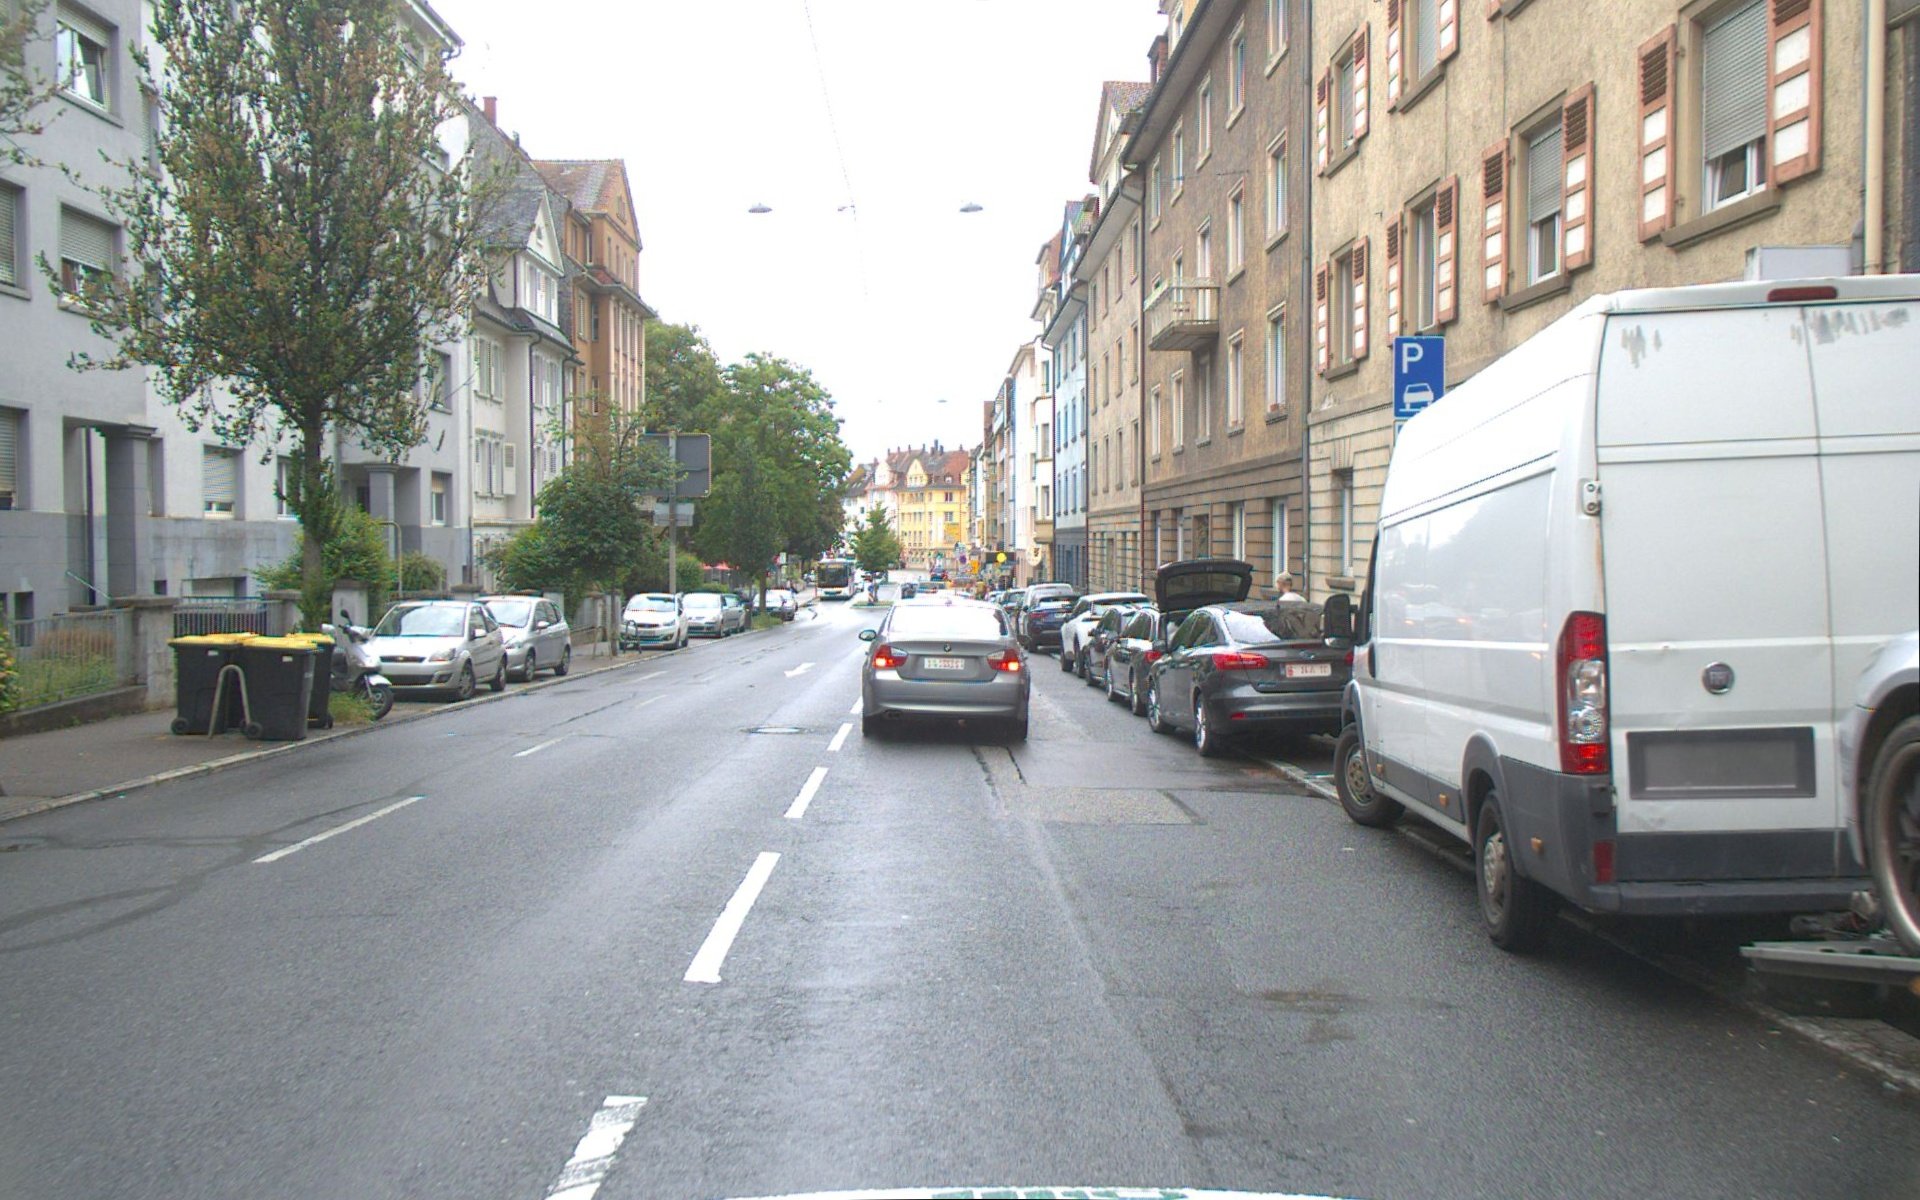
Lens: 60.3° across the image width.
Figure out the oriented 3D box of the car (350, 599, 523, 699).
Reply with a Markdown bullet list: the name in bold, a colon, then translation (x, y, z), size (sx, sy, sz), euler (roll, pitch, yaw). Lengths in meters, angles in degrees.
- **car**: translation (-8.056, 0.726, 25.800), size (1.568, 1.421, 3.885), euler (0, -1, -2)

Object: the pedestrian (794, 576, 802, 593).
- **pedestrian**: translation (-14.247, -1.351, 145.255), size (0.607, 1.402, 0.544), euler (3, -1, -1)

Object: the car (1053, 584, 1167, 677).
- **car**: translation (2.924, 0.569, 33.022), size (1.599, 1.667, 4.192), euler (3, 0, -3)

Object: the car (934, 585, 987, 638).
- **car**: translation (0.015, 0.344, 47.940), size (1.406, 1.380, 3.761), euler (3, -1, 0)

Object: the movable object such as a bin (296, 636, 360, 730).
- **movable object such as a bin**: translation (-7.519, 0.983, 19.702), size (0.513, 1.076, 0.483), euler (3, -1, 0)

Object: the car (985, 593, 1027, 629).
- **car**: translation (1.979, 0.465, 71.479), size (1.551, 1.454, 3.594), euler (-2, 1, -2)

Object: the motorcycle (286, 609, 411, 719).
- **motorcycle**: translation (-7.891, 0.801, 21.313), size (1.778, 1.338, 0.738), euler (0, 0, 40)

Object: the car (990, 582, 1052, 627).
- **car**: translation (2.085, 0.145, 57.745), size (1.804, 1.434, 4.385), euler (-2, 0, -3)

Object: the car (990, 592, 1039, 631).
- **car**: translation (2.169, 0.445, 67.138), size (1.694, 1.454, 3.972), euler (-2, 1, -2)

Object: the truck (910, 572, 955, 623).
- **truck**: translation (-1.526, -0.100, 89.582), size (2.172, 2.588, 4.777), euler (3, -1, -2)

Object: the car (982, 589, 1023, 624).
- **car**: translation (1.999, 0.284, 78.928), size (1.781, 1.585, 4.292), euler (-1, 0, -1)

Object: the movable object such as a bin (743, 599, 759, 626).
- **movable object such as a bin**: translation (-8.539, 0.517, 67.614), size (0.617, 1.076, 0.600), euler (0, -1, -1)

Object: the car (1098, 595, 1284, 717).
- **car**: translation (3.066, 0.712, 22.874), size (1.742, 1.505, 4.585), euler (0, 0, -3)

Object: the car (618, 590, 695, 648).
- **car**: translation (-8.467, 0.524, 46.430), size (1.613, 1.534, 3.794), euler (1, -1, -3)

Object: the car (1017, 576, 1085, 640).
- **car**: translation (2.770, 0.221, 51.087), size (1.754, 1.849, 4.079), euler (-1, 0, -2)

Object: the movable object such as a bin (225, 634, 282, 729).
- **movable object such as a bin**: translation (-8.320, 0.949, 19.487), size (0.462, 1.076, 0.482), euler (3, -1, -10)

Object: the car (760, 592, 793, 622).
- **car**: translation (-9.553, 0.351, 86.274), size (1.600, 1.479, 3.835), euler (1, 0, -5)

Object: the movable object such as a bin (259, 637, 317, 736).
- **movable object such as a bin**: translation (-7.641, 0.979, 18.820), size (0.462, 1.076, 0.482), euler (3, -1, -10)

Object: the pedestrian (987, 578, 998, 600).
- **pedestrian**: translation (2.570, -0.839, 129.478), size (0.734, 1.690, 0.755), euler (3, -1, 5)

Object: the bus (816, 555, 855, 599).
- **bus**: translation (-10.150, -1.806, 135.528), size (2.627, 3.256, 11.949), euler (3, -1, -2)

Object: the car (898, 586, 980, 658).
- **car**: translation (-0.499, 0.480, 36.551), size (1.570, 1.445, 3.285), euler (3, -1, -4)

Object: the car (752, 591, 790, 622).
- **car**: translation (-9.350, 0.324, 81.872), size (1.621, 1.479, 3.940), euler (0, 0, -3)

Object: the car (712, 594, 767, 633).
- **car**: translation (-8.481, 0.494, 63.813), size (1.648, 1.414, 3.935), euler (-1, 0, -1)

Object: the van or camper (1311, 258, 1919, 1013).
- **van or camper**: translation (3.518, 0.105, 9.233), size (2.138, 2.746, 6.423), euler (0, 0, 4)

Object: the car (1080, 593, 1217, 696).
- **car**: translation (3.062, 0.690, 27.505), size (1.599, 1.504, 3.733), euler (3, 0, -3)

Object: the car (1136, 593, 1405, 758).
- **car**: translation (3.077, 0.704, 17.268), size (1.742, 1.505, 4.186), euler (0, 0, -4)

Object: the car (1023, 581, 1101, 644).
- **car**: translation (2.703, 0.308, 44.592), size (1.754, 1.575, 4.225), euler (-1, 0, -1)

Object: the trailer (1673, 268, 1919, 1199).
- **trailer**: translation (3.055, 0.371, 2.346), size (1.952, 2.189, 5.073), euler (-2, 1, 1)

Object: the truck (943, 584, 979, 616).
- **truck**: translation (0.017, -0.017, 122.303), size (2.172, 2.153, 4.648), euler (4, 0, -4)

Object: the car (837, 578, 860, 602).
- **car**: translation (-10.509, -0.920, 156.235), size (1.954, 2.049, 3.998), euler (4, -1, -3)

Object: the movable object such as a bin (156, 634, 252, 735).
- **movable object such as a bin**: translation (-8.418, 0.938, 18.431), size (0.808, 1.076, 0.483), euler (2, -1, 0)

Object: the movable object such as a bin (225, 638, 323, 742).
- **movable object such as a bin**: translation (-7.488, 0.973, 18.070), size (0.808, 1.076, 0.483), euler (3, -1, 0)

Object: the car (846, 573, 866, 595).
- **car**: translation (-10.790, -1.645, 171.746), size (1.954, 2.049, 3.998), euler (3, -1, -2)

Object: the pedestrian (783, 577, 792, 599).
- **pedestrian**: translation (-13.510, -0.948, 129.508), size (0.532, 1.739, 0.465), euler (3, -1, -8)

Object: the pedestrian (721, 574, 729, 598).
- **pedestrian**: translation (-17.520, -1.046, 123.237), size (0.456, 1.821, 0.543), euler (3, -1, -8)

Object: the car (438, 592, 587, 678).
- **car**: translation (-8.267, 0.631, 30.859), size (1.567, 1.476, 3.888), euler (0, -1, 2)

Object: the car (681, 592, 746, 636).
- **car**: translation (-8.405, 0.468, 56.620), size (1.648, 1.414, 3.908), euler (1, 0, -1)

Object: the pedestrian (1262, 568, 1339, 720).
- **pedestrian**: translation (4.162, 0.534, 20.185), size (0.697, 1.818, 0.686), euler (-2, -1, 28)

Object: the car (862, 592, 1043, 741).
- **car**: translation (-0.111, 0.664, 17.608), size (1.720, 1.386, 3.163), euler (2, -1, -2)

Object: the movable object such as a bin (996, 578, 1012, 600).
- **movable object such as a bin**: translation (3.415, -0.862, 129.565), size (1.100, 1.732, 1.432), euler (-1, -1, -4)
